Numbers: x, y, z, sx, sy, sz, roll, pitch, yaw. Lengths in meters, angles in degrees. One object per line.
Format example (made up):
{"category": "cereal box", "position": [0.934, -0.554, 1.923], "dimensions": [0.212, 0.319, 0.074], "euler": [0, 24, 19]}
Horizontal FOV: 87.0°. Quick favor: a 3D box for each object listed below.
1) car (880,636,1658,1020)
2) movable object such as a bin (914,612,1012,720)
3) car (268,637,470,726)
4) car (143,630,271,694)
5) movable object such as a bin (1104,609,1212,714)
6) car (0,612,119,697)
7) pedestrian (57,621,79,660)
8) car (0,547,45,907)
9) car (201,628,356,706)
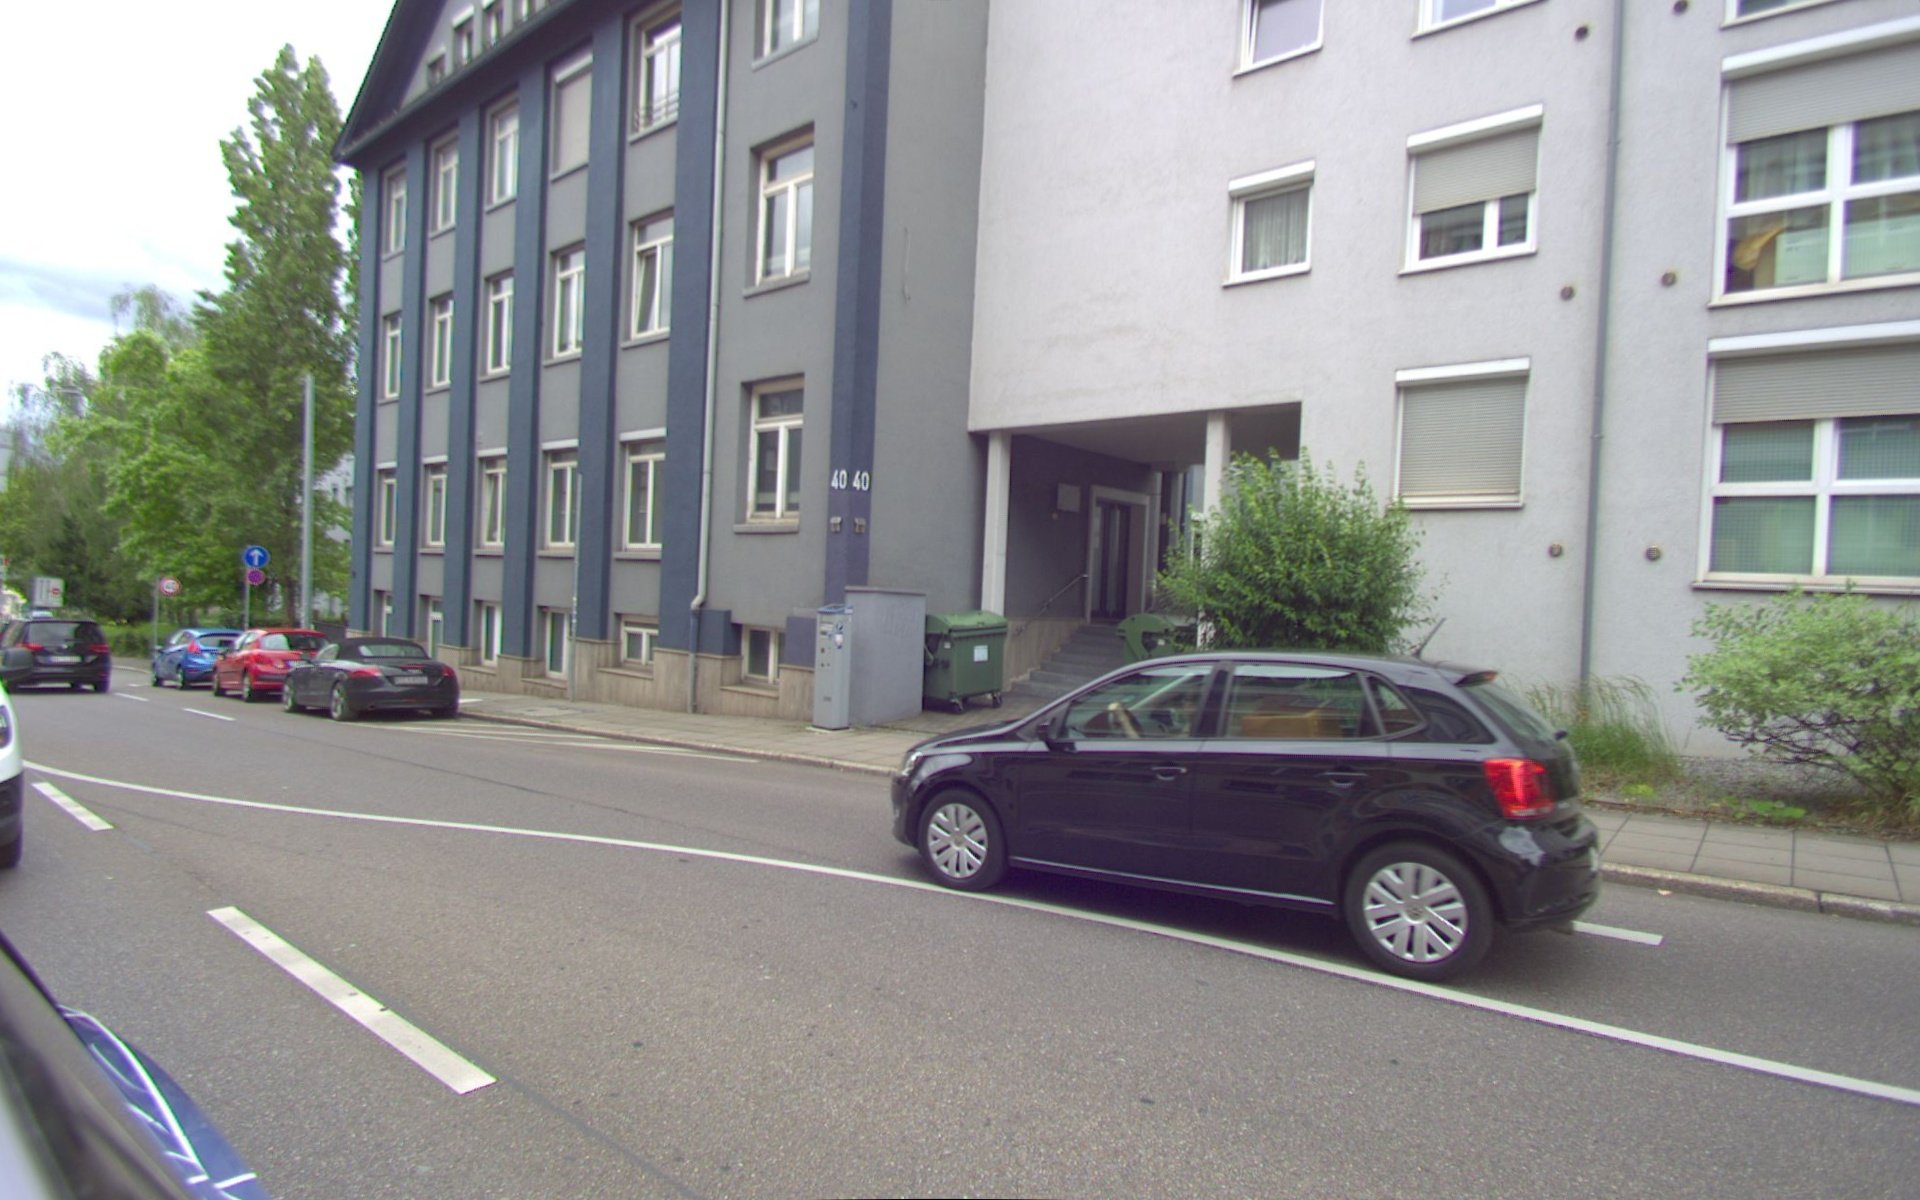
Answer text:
{"category": "car", "position": [1.544, 0.942, 5.612], "dimensions": [3.787, 1.411, 1.658], "euler": [-1, -4, 36]}
{"category": "movable object such as a bin", "position": [0.050, 0.932, 14.946], "dimensions": [0.784, 1.467, 1.251], "euler": [0, 1, 44]}
{"category": "car", "position": [-10.210, 1.340, 17.373], "dimensions": [4.038, 1.337, 1.702], "euler": [-1, -4, 40]}
{"category": "car", "position": [-18.638, 1.483, 25.001], "dimensions": [3.724, 1.465, 1.702], "euler": [-1, -3, 40]}
{"category": "movable object such as a bin", "position": [3.108, 0.933, 15.879], "dimensions": [1.190, 1.489, 1.132], "euler": [5, 2, 41]}
{"category": "car", "position": [-20.461, 1.193, 22.630], "dimensions": [4.304, 1.720, 1.765], "euler": [-1, -4, 40]}
{"category": "pedestrian", "position": [-43.143, 1.957, 48.945], "dimensions": [0.776, 1.864, 0.736], "euler": [-2, -2, 42]}
{"category": "car", "position": [-7.200, 0.697, 6.205], "dimensions": [4.937, 1.821, 1.816], "euler": [-1, 0, 42]}
{"category": "car", "position": [-14.406, 1.373, 21.331], "dimensions": [3.868, 1.485, 1.796], "euler": [-2, -5, 42]}
